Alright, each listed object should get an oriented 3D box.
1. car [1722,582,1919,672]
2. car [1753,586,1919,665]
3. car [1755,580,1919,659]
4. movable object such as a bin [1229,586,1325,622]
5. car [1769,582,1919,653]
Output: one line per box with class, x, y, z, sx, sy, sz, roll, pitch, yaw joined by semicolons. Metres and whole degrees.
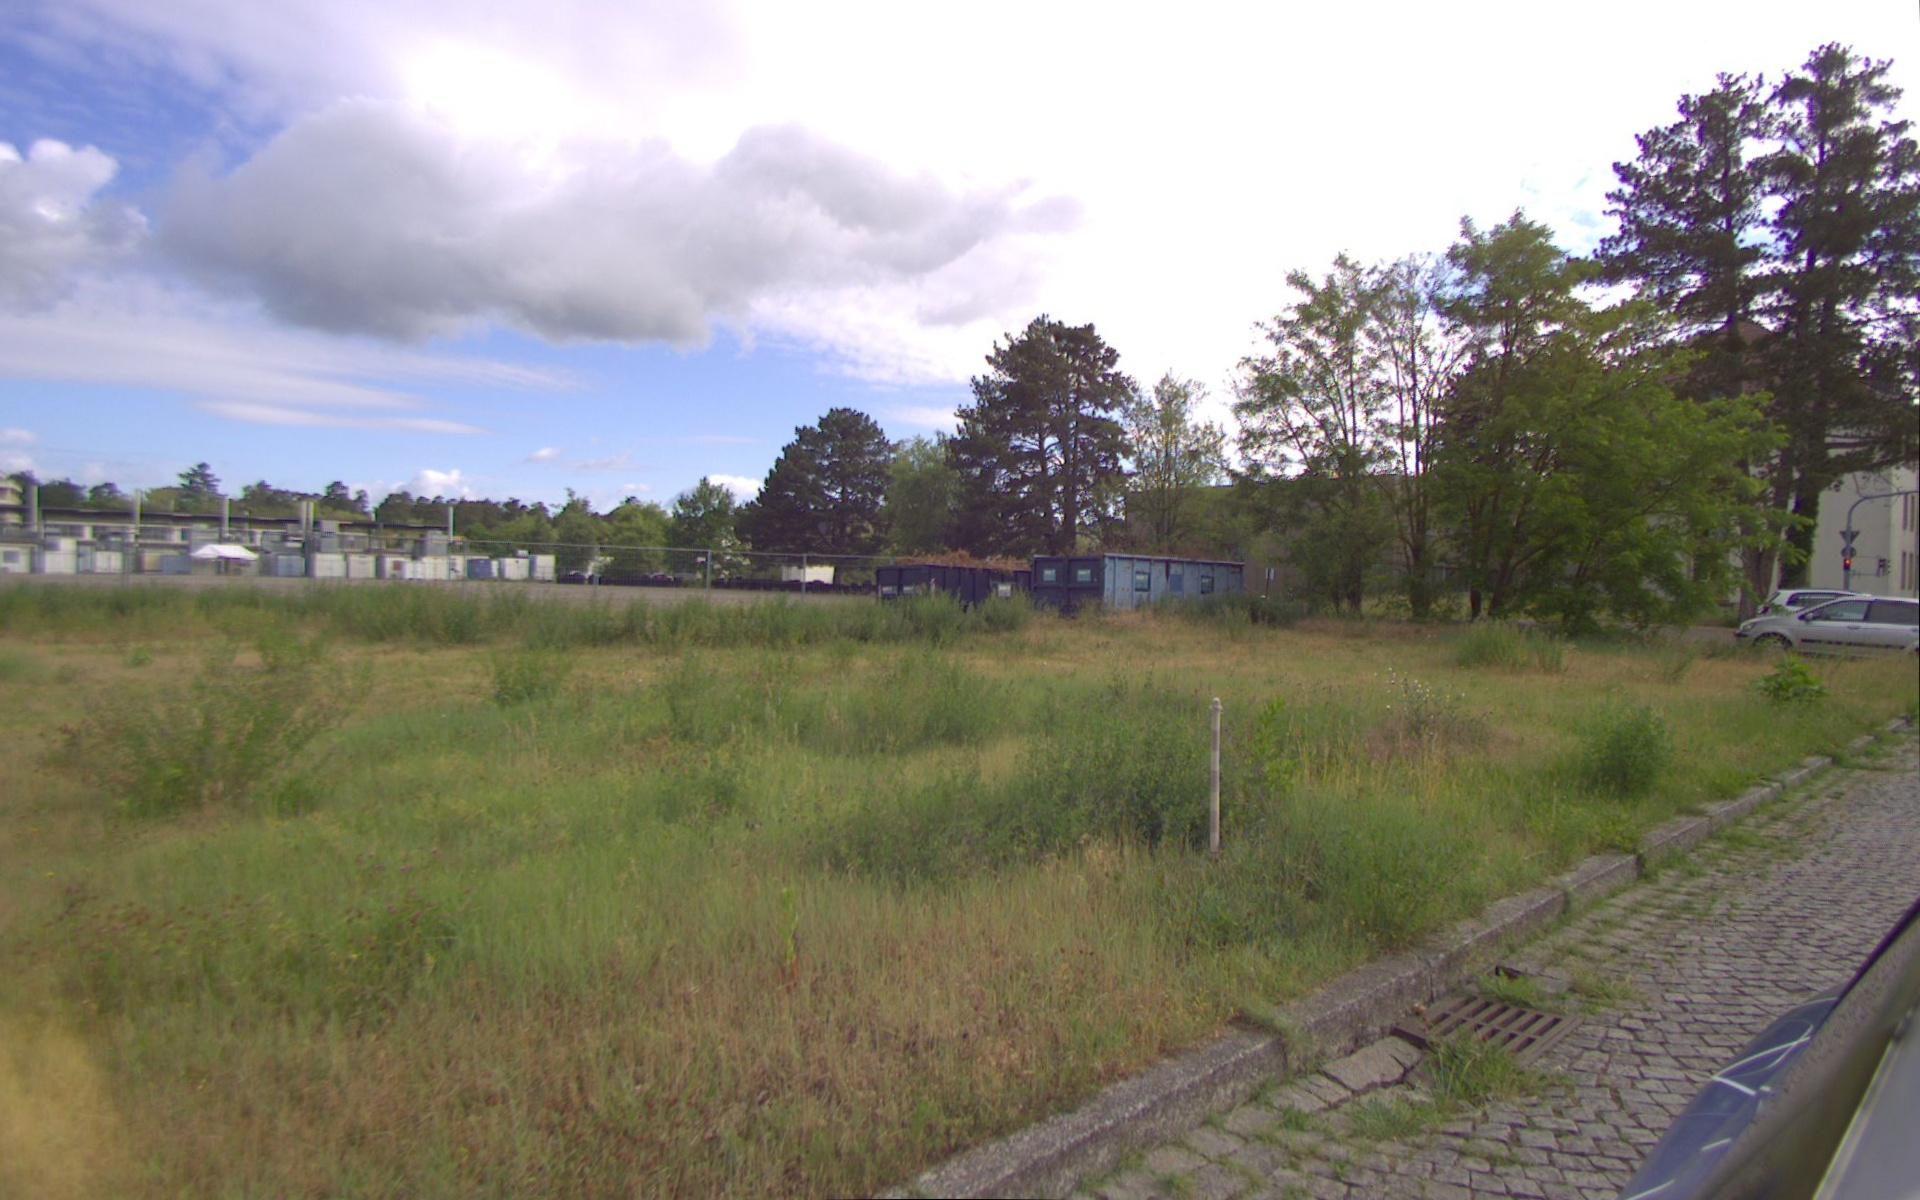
car;18.484;0.533;20.877;1.773;1.533;4.082;0;4;-42
car;20.512;0.570;22.601;1.853;1.470;4.082;0;4;-42
car;22.269;0.480;24.668;1.853;1.615;4.247;0;4;-43
movable object such as a bin;9.473;0.098;30.336;0.839;1.000;2.686;0;1;-42
car;24.136;0.482;26.344;1.872;1.584;4.502;0;4;-42
